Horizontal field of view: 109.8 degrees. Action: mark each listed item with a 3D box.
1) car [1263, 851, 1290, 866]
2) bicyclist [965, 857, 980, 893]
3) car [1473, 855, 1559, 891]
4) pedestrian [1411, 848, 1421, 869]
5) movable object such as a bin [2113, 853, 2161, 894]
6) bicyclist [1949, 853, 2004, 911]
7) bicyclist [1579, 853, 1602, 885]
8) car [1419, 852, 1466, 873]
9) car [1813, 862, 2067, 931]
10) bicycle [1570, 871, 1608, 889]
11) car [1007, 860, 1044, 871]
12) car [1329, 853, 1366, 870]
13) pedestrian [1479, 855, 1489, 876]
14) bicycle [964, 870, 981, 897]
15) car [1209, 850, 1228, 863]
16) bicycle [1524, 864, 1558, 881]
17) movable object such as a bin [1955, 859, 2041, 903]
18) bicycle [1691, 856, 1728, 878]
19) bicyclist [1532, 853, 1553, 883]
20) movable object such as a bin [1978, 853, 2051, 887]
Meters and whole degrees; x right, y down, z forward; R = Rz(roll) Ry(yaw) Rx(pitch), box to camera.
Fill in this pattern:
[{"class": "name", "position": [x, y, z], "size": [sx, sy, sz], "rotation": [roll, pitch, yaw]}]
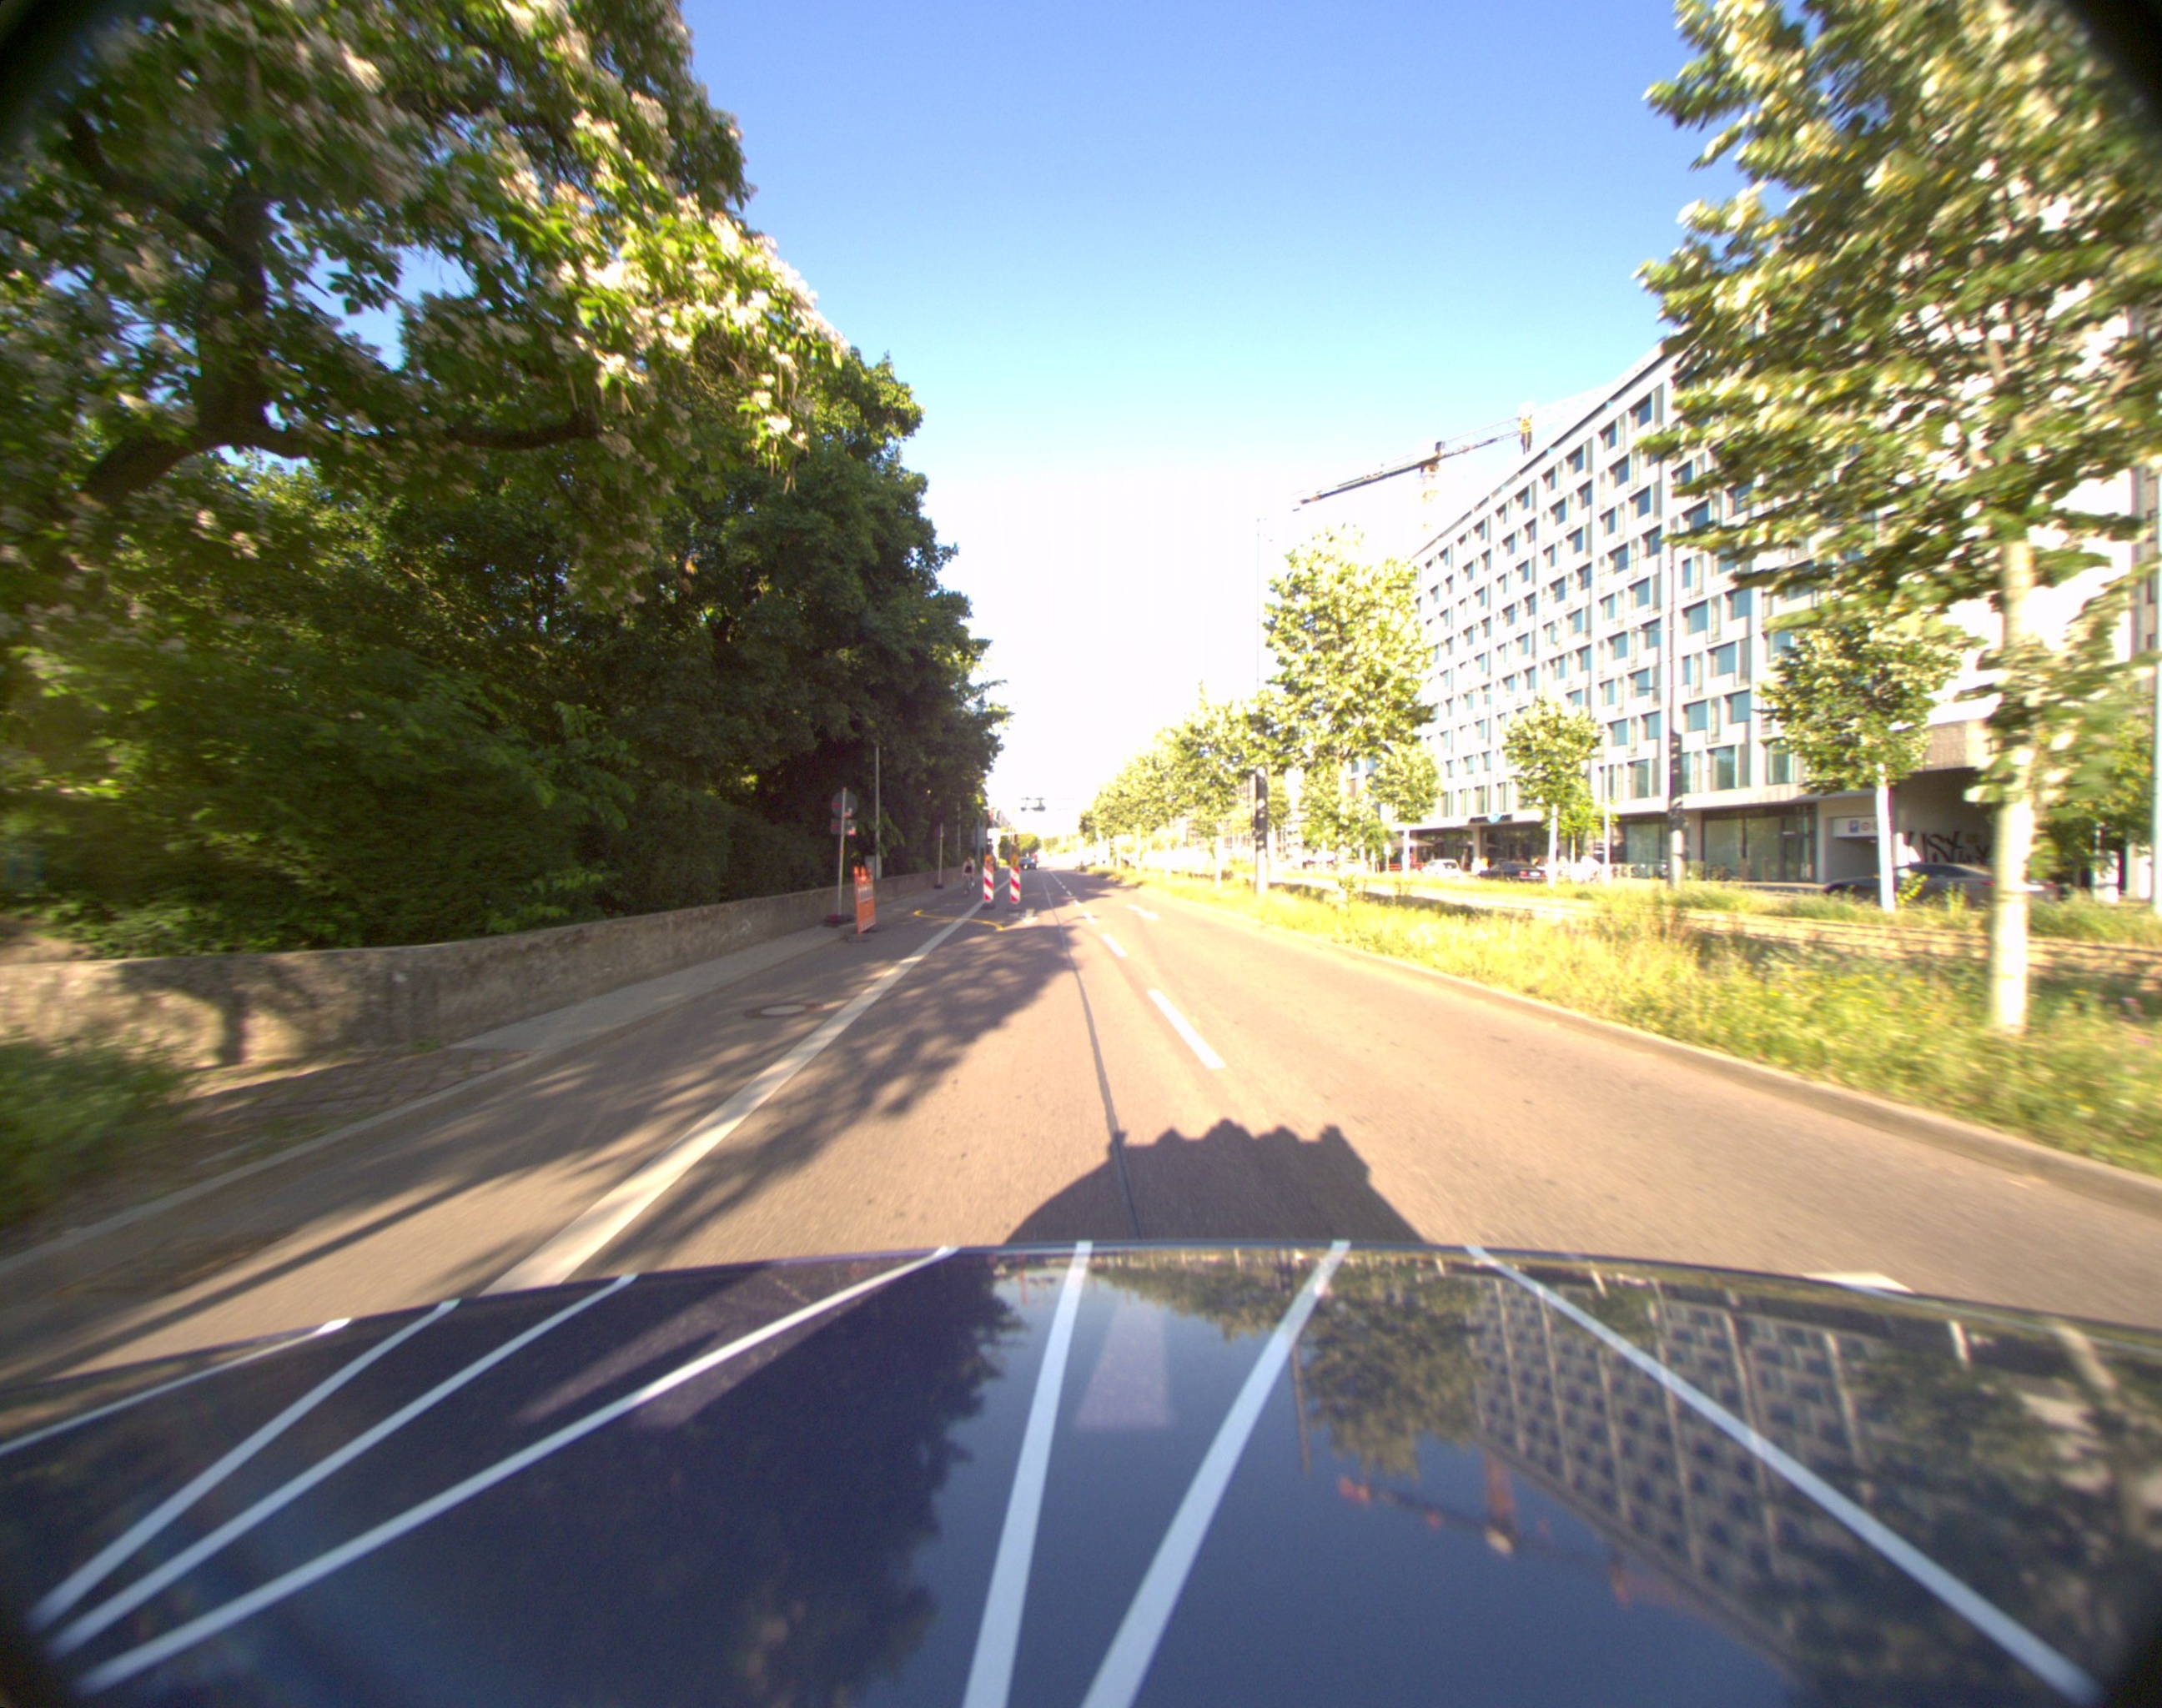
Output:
[{"class": "car", "position": [22.090, 0.529, 85.951], "size": [1.875, 1.582, 3.481], "rotation": [-2, 1, -3]}, {"class": "bicyclist", "position": [-4.318, 0.827, 30.191], "size": [0.516, 1.399, 0.805], "rotation": [0, 1, -4]}, {"class": "car", "position": [23.353, 0.965, 40.966], "size": [1.875, 1.692, 4.486], "rotation": [-2, 1, -3]}, {"class": "pedestrian", "position": [31.233, 0.421, 70.858], "size": [0.622, 2.002, 0.725], "rotation": [0, 1, -3]}, {"class": "movable object such as a bin", "position": [36.711, 0.654, 26.088], "size": [1.121, 1.363, 1.090], "rotation": [0, 1, -4]}, {"class": "bicyclist", "position": [27.485, 0.834, 23.340], "size": [0.559, 1.735, 0.919], "rotation": [0, 1, -5]}, {"class": "bicyclist", "position": [26.644, 0.766, 39.717], "size": [0.539, 1.647, 0.919], "rotation": [0, 1, -5]}, {"class": "car", "position": [27.793, 0.644, 58.489], "size": [1.875, 1.458, 3.388], "rotation": [-2, 1, -3]}, {"class": "car", "position": [24.155, 1.103, 21.697], "size": [1.875, 1.579, 4.637], "rotation": [-2, 1, -3]}, {"class": "bicycle", "position": [26.634, 1.368, 39.890], "size": [0.437, 0.857, 2.102], "rotation": [0, 0, -5]}, {"class": "car", "position": [-6.771, 1.375, 93.124], "size": [3.989, 1.346, 2.004], "rotation": [0, 0, 27]}, {"class": "car", "position": [22.516, 0.608, 64.393], "size": [1.613, 1.370, 3.878], "rotation": [-2, 1, -3]}, {"class": "pedestrian", "position": [31.339, 0.885, 59.068], "size": [0.479, 1.626, 0.597], "rotation": [0, 1, -3]}, {"class": "bicycle", "position": [-4.312, 1.155, 30.242], "size": [0.506, 1.018, 1.505], "rotation": [0, 0, -3]}, {"class": "car", "position": [19.585, 0.358, 108.451], "size": [1.875, 1.742, 3.791], "rotation": [-2, 1, -3]}, {"class": "bicycle", "position": [25.380, 1.014, 41.963], "size": [0.437, 0.857, 2.102], "rotation": [0, 0, -5]}, {"class": "movable object such as a bin", "position": [29.448, 0.850, 24.415], "size": [1.390, 1.363, 1.171], "rotation": [0, 0, -4]}, {"class": "bicycle", "position": [36.108, 0.738, 43.678], "size": [0.395, 1.223, 1.718], "rotation": [0, 0, -12]}, {"class": "bicyclist", "position": [25.422, 0.779, 41.889], "size": [0.539, 1.647, 0.919], "rotation": [0, 1, -5]}, {"class": "movable object such as a bin", "position": [37.007, 0.606, 30.137], "size": [1.390, 1.326, 1.233], "rotation": [0, 0, -4]}]
